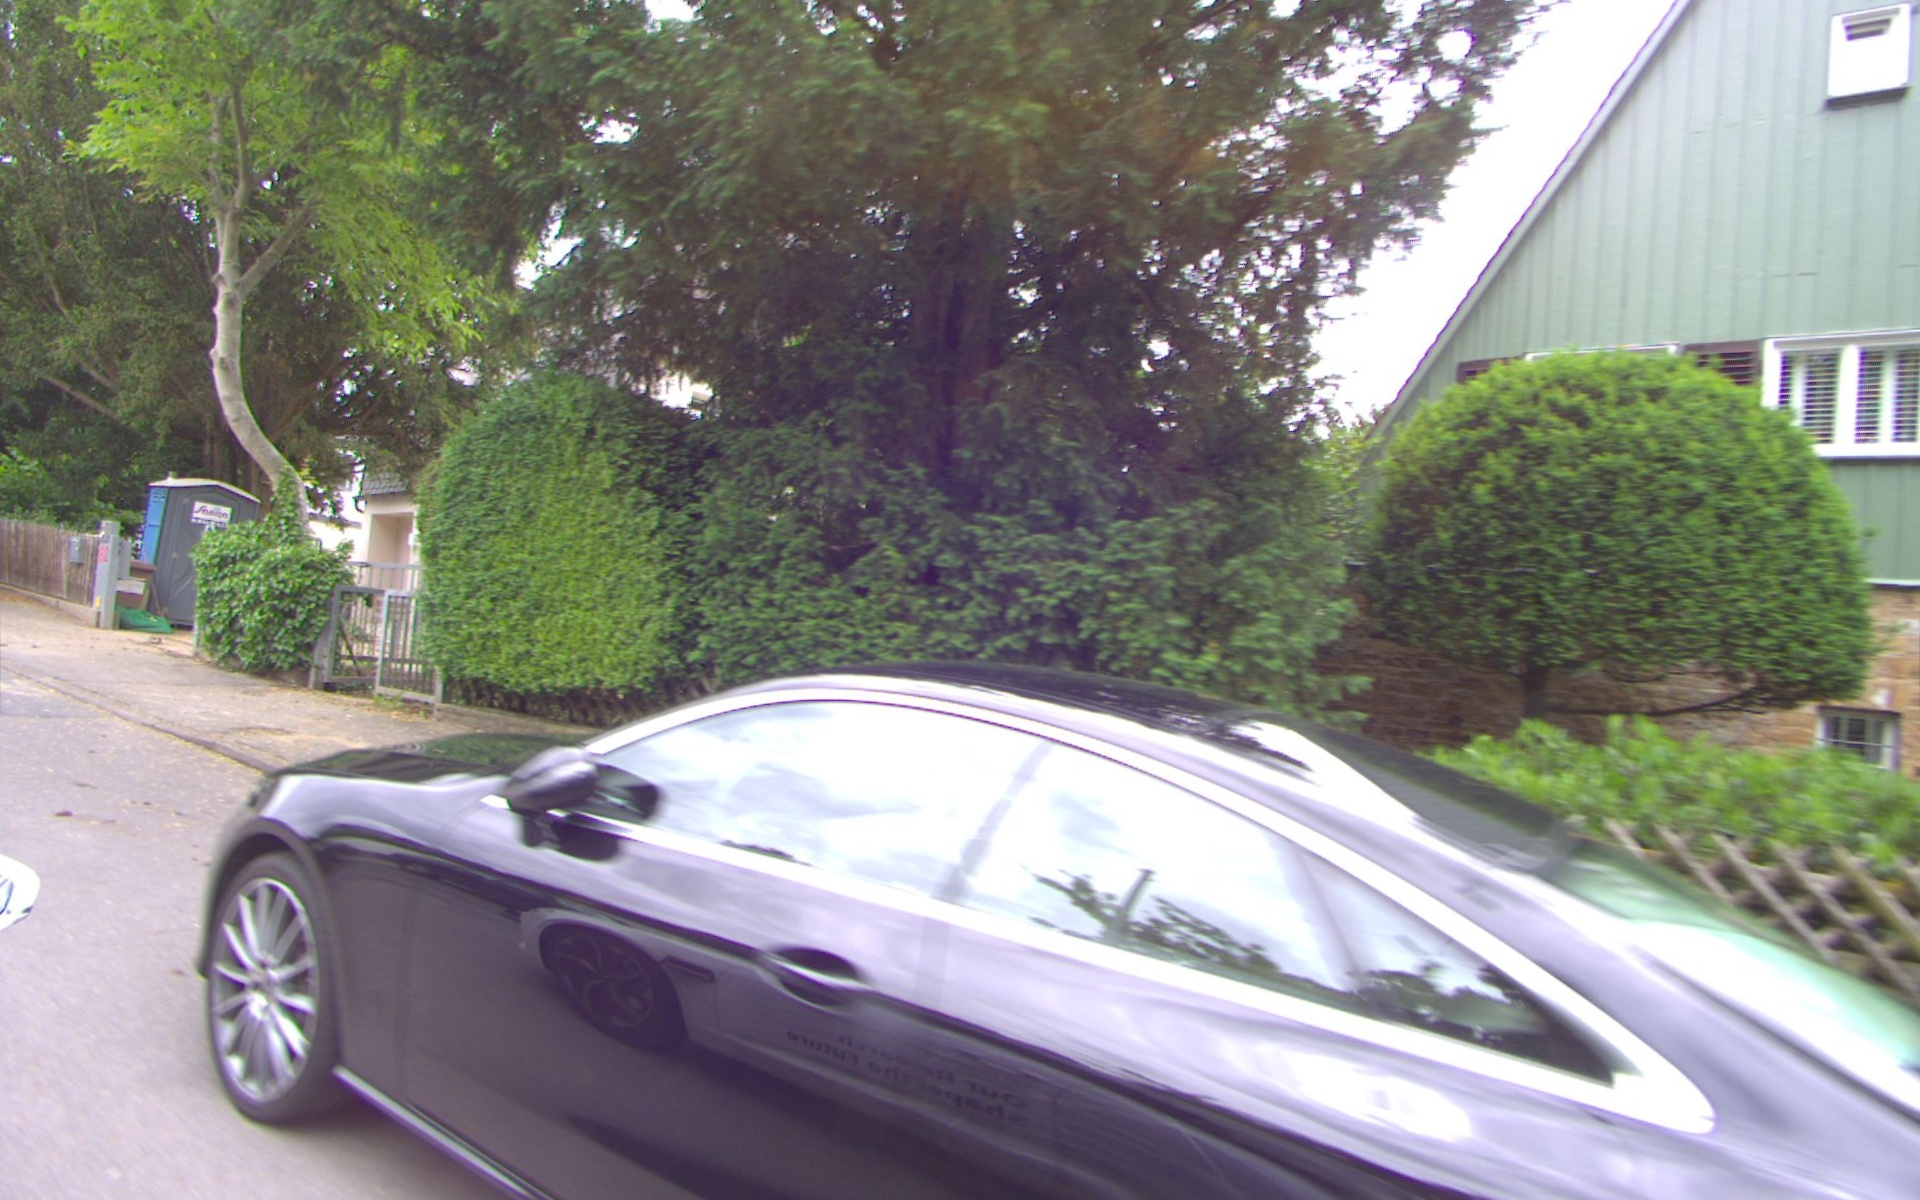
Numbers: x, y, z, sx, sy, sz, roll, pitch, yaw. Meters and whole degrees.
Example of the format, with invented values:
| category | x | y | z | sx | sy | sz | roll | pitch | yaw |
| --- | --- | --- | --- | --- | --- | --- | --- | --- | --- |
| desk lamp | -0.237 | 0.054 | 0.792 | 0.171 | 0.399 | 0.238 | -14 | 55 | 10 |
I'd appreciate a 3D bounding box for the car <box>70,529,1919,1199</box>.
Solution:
| category | x | y | z | sx | sy | sz | roll | pitch | yaw |
| --- | --- | --- | --- | --- | --- | --- | --- | --- | --- |
| car | -0.258 | 0.804 | 2.541 | 4.584 | 1.440 | 1.655 | 6 | -2 | 32 |
